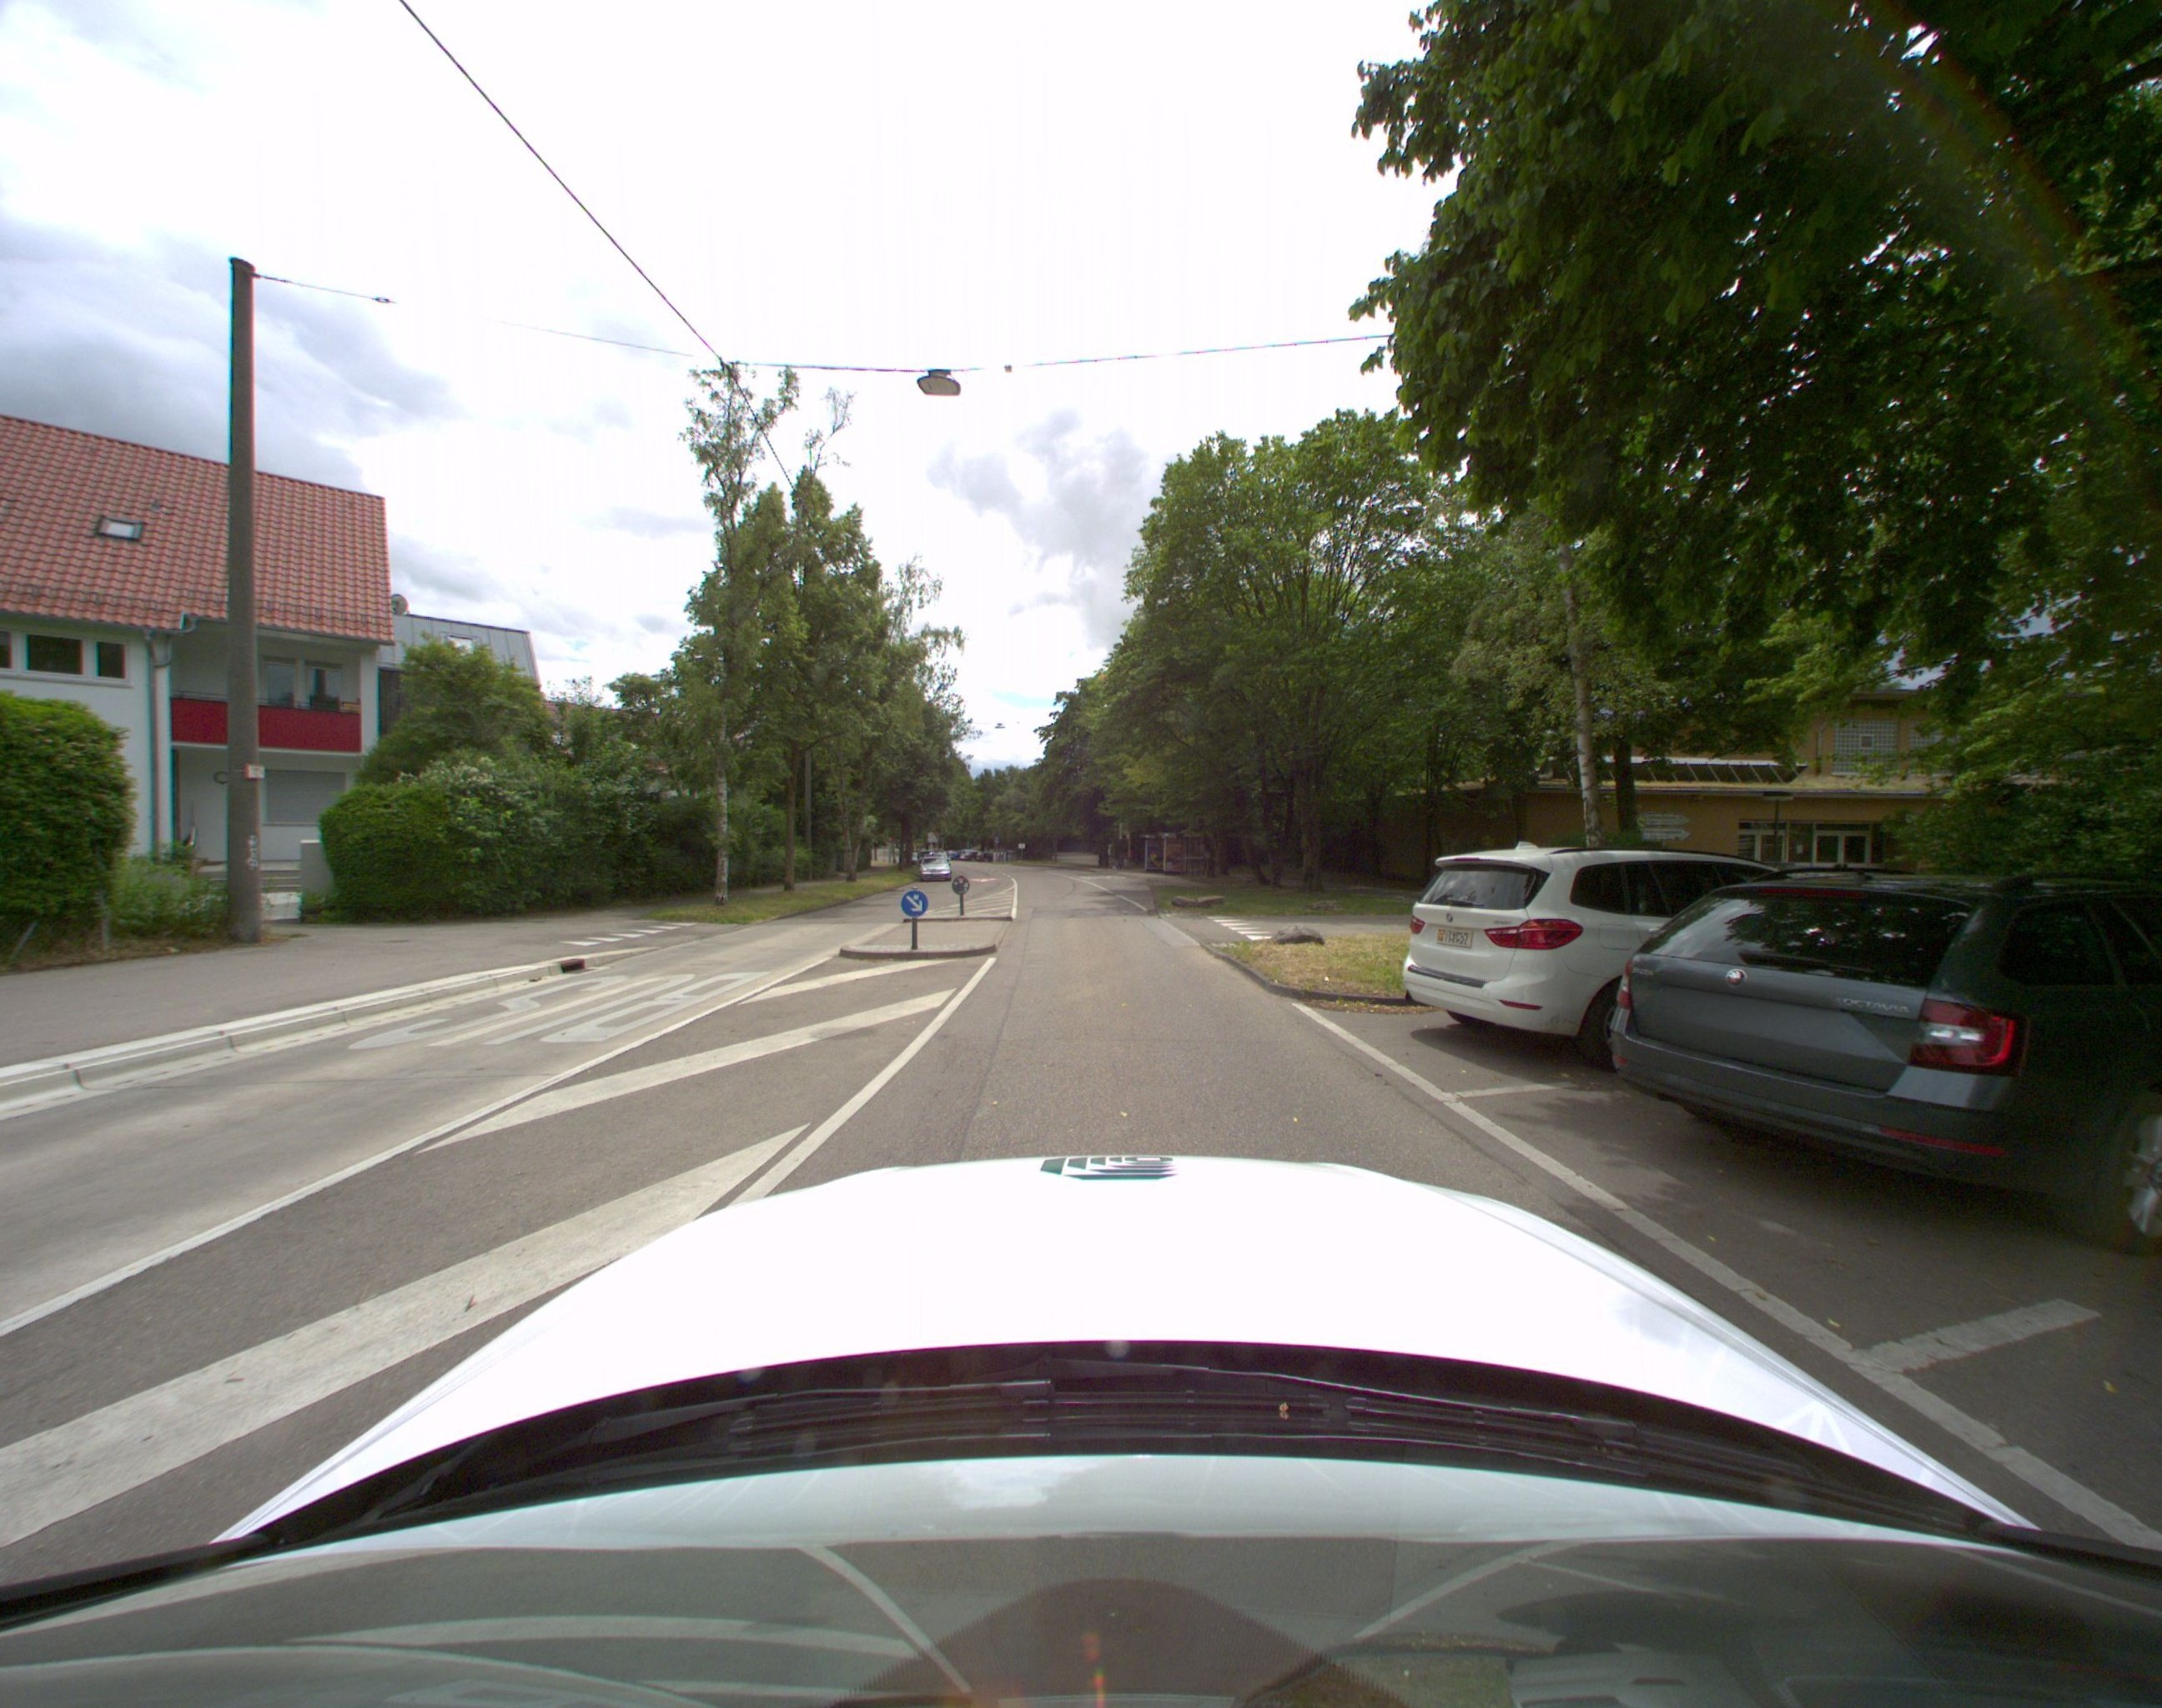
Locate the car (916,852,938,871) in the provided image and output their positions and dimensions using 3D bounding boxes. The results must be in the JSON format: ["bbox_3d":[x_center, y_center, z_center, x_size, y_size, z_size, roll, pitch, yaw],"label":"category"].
[{"bbox_3d":[-16.215,0.804,85.515,1.861,1.909,5.056,-1,0,-15],"label":"car"}]

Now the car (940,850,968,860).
[{"bbox_3d":[-19.952,0.162,127.933,3.850,1.528,1.726,3,-2,-41],"label":"car"}]

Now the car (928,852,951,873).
[{"bbox_3d":[-11.241,0.678,64.624,1.736,1.578,4.127,-2,0,-10],"label":"car"}]

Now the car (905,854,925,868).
[{"bbox_3d":[-20.636,0.877,101.194,1.811,1.563,4.239,-4,1,-19],"label":"car"}]

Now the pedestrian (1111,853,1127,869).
[{"bbox_3d":[2.895,0.511,61.772,1.064,1.182,0.577,-1,0,-13],"label":"pedestrian"}]

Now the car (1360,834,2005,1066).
[{"bbox_3d":[4.921,0.705,6.929,4.469,1.585,1.900,1,-1,-11],"label":"car"}]

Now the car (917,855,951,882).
[{"bbox_3d":[-8.550,0.802,47.149,1.737,1.416,4.452,-2,0,-13],"label":"car"}]

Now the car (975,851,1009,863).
[{"bbox_3d":[-11.947,0.380,109.078,4.020,1.414,2.034,3,0,-41],"label":"car"}]

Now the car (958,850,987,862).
[{"bbox_3d":[-15.836,0.307,119.179,3.850,1.720,1.856,3,-2,-41],"label":"car"}]

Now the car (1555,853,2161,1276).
[{"bbox_3d":[4.878,0.774,4.302,4.142,1.464,1.788,1,-1,-17],"label":"car"}]

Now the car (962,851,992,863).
[{"bbox_3d":[-14.911,0.441,116.709,3.850,1.468,1.726,3,-1,-41],"label":"car"}]

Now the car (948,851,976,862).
[{"bbox_3d":[-18.012,0.350,123.315,3.850,1.528,1.726,3,-2,-41],"label":"car"}]

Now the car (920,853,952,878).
[{"bbox_3d":[-9.421,0.726,53.159,1.734,1.538,4.179,-2,0,-7],"label":"car"}]
